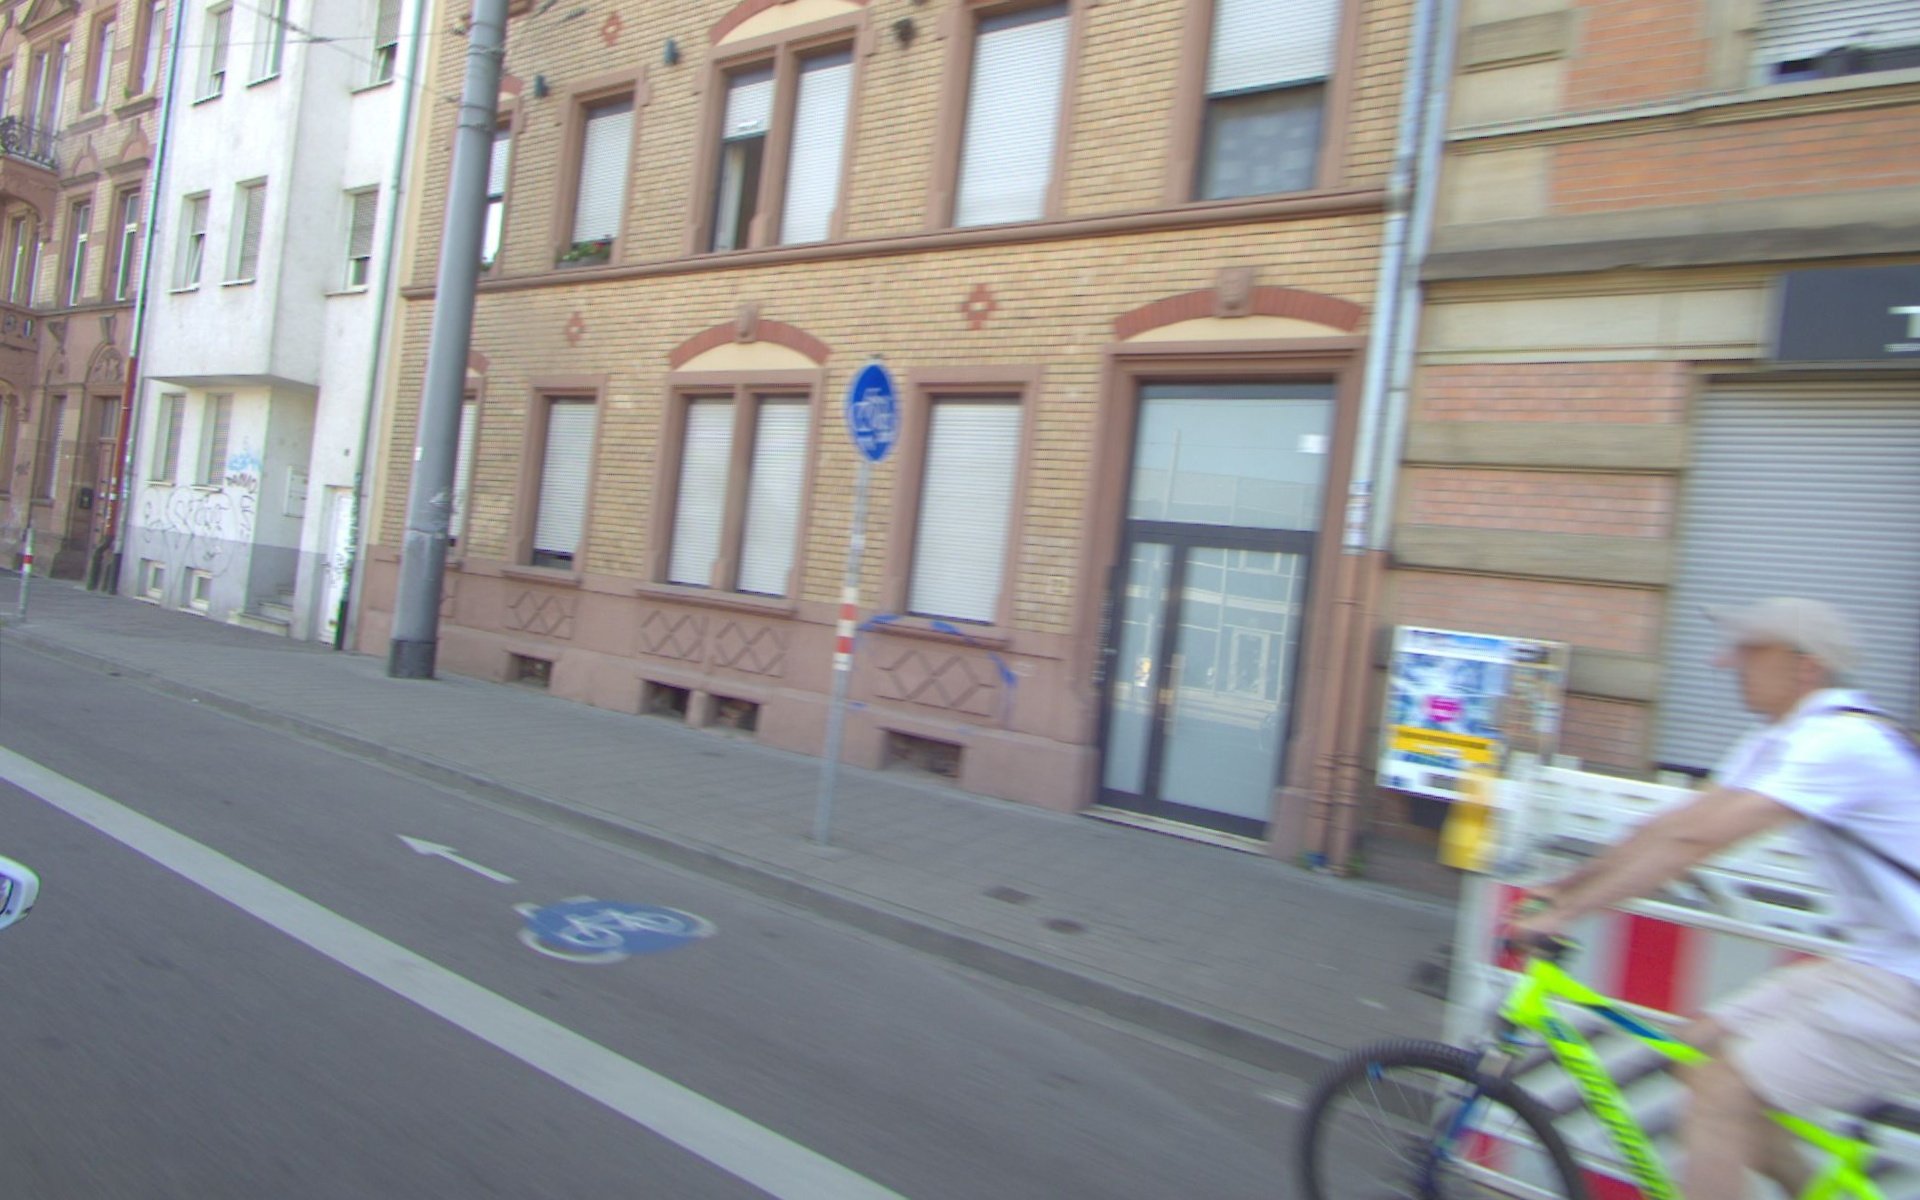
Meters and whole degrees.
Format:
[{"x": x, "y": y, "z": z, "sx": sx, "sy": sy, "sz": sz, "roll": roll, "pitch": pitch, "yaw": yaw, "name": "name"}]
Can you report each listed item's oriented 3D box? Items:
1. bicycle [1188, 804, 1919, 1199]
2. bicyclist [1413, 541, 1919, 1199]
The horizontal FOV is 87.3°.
[{"x": 1.561, "y": 1.231, "z": 2.235, "sx": 1.902, "sy": 1.130, "sz": 0.532, "roll": 7, "pitch": -2, "yaw": 34, "name": "bicycle"}, {"x": 1.713, "y": 0.793, "z": 2.142, "sx": 1.104, "sy": 1.702, "sz": 0.681, "roll": 6, "pitch": -3, "yaw": 41, "name": "bicyclist"}]
